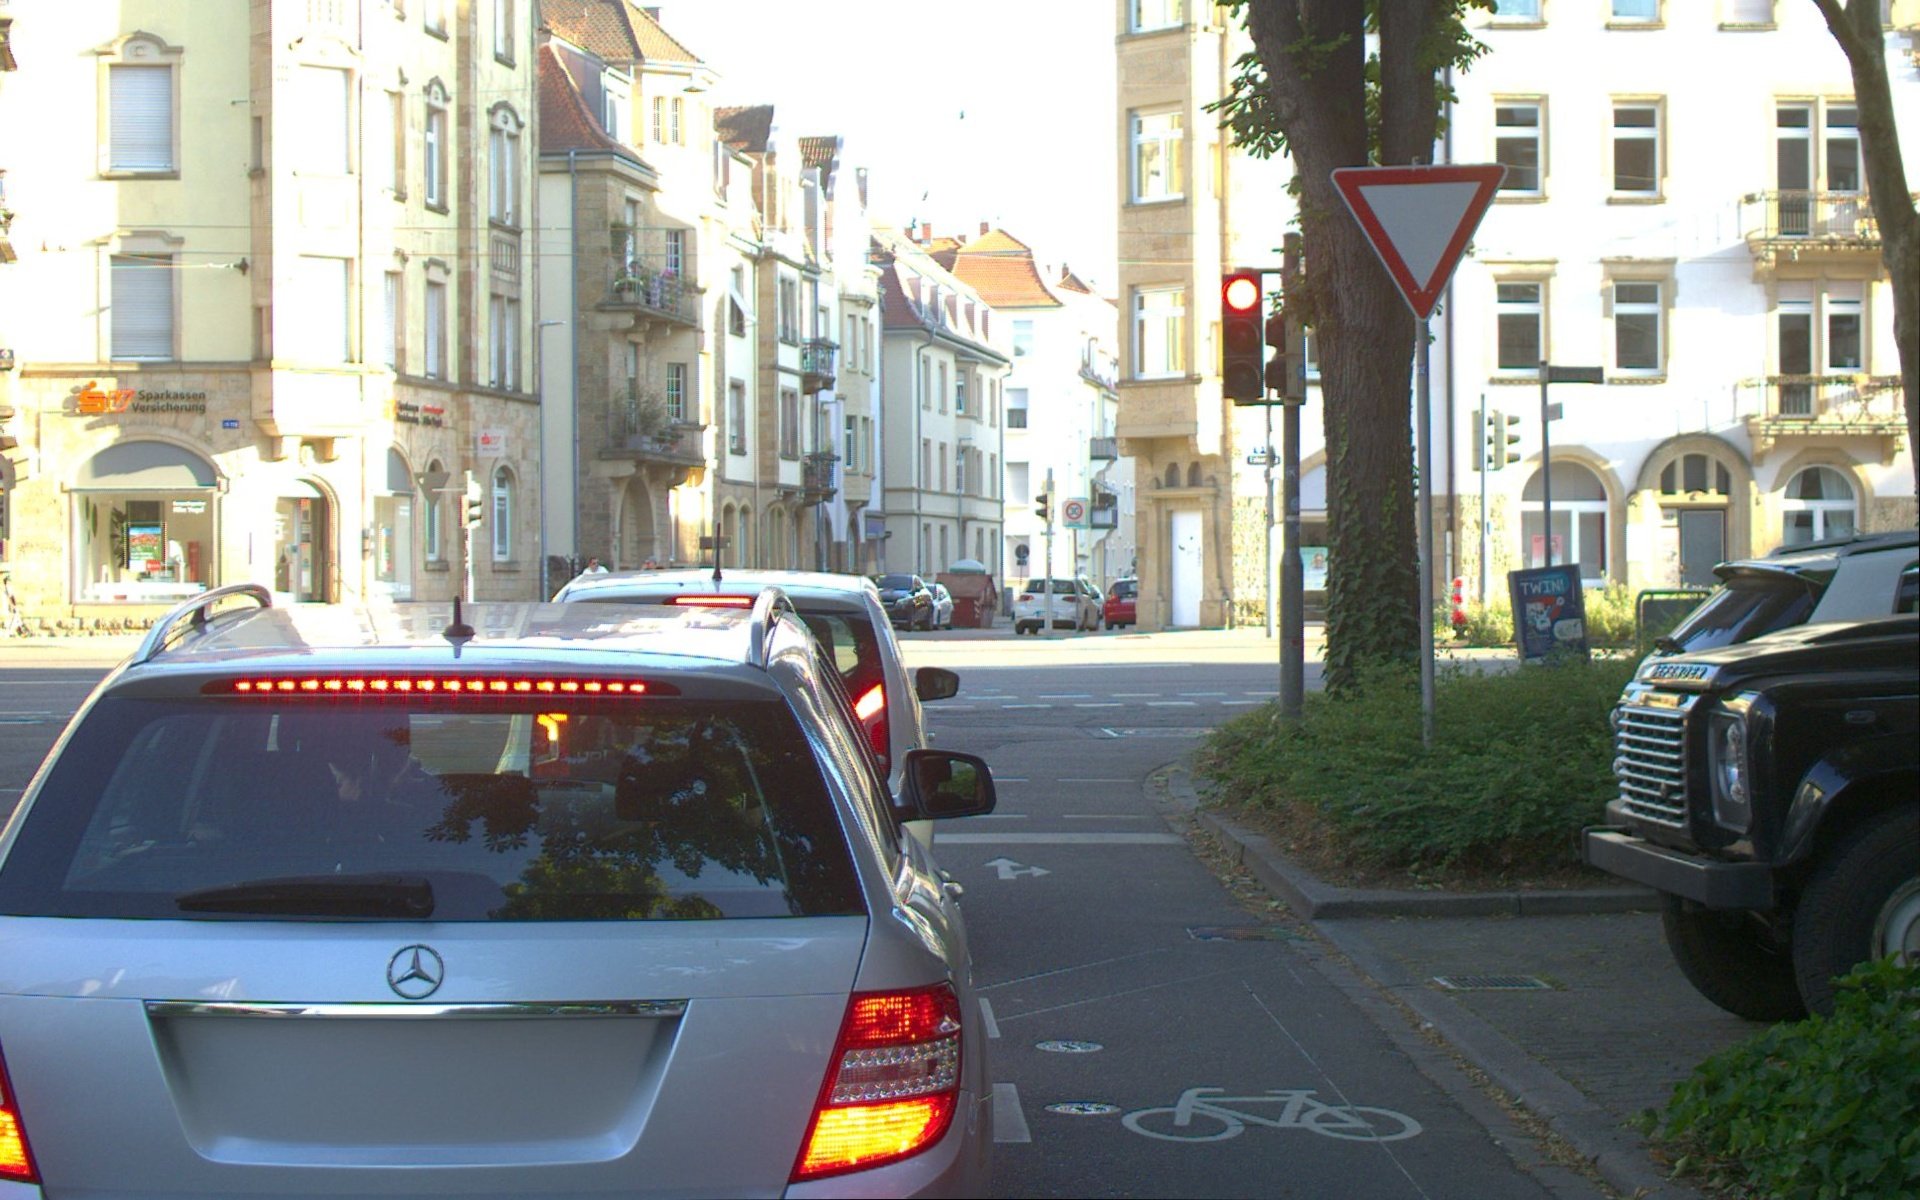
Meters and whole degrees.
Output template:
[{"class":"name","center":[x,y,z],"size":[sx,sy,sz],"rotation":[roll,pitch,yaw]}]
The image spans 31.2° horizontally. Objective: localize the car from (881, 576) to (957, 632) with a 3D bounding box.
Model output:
[{"class":"car","center":[-1.266,0.118,108.762],"size":[1.835,1.657,3.999],"rotation":[0,1,8]}]

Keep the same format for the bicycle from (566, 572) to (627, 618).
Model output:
[{"class":"bicycle","center":[-7.757,-0.114,73.386],"size":[0.771,0.936,1.939],"rotation":[1,1,11]}]

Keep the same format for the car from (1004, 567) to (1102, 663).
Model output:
[{"class":"car","center":[2.353,0.351,85.900],"size":[2.031,2.272,3.999],"rotation":[0,1,8]}]

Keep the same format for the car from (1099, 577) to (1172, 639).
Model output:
[{"class":"car","center":[5.231,0.217,101.932],"size":[1.835,1.738,3.999],"rotation":[0,1,8]}]

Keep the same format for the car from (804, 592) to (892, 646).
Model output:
[{"class":"car","center":[-3.146,0.522,97.042],"size":[1.835,1.397,3.999],"rotation":[0,1,8]}]

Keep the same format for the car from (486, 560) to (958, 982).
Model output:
[{"class":"car","center":[-0.906,0.567,14.051],"size":[1.619,1.442,4.345],"rotation":[0,1,-2]}]

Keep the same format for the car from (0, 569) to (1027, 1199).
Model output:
[{"class":"car","center":[-0.889,0.678,6.961],"size":[1.777,1.447,4.548],"rotation":[0,1,-2]}]

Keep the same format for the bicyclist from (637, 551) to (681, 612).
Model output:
[{"class":"bicyclist","center":[-6.432,-0.397,73.471],"size":[0.771,1.285,0.752],"rotation":[1,1,11]}]

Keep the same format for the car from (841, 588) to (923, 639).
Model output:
[{"class":"car","center":[-2.312,0.394,102.532],"size":[1.835,1.397,3.999],"rotation":[0,1,8]}]

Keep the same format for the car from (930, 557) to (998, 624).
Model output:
[{"class":"car","center":[0.144,-0.353,117.350],"size":[1.787,2.196,3.999],"rotation":[0,1,8]}]

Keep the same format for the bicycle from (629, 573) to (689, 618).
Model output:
[{"class":"bicycle","center":[-6.434,-0.105,73.474],"size":[0.771,0.931,1.939],"rotation":[1,1,11]}]

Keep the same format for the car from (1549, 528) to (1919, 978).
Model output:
[{"class":"car","center":[4.299,0.498,13.091],"size":[3.723,1.564,1.709],"rotation":[-1,0,-4]}]

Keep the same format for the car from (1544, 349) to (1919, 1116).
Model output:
[{"class":"car","center":[4.144,0.298,10.121],"size":[4.465,2.029,1.701],"rotation":[-1,0,-3]}]

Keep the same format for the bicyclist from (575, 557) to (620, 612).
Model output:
[{"class":"bicyclist","center":[-7.739,-0.336,73.461],"size":[0.771,1.152,0.752],"rotation":[1,1,11]}]
